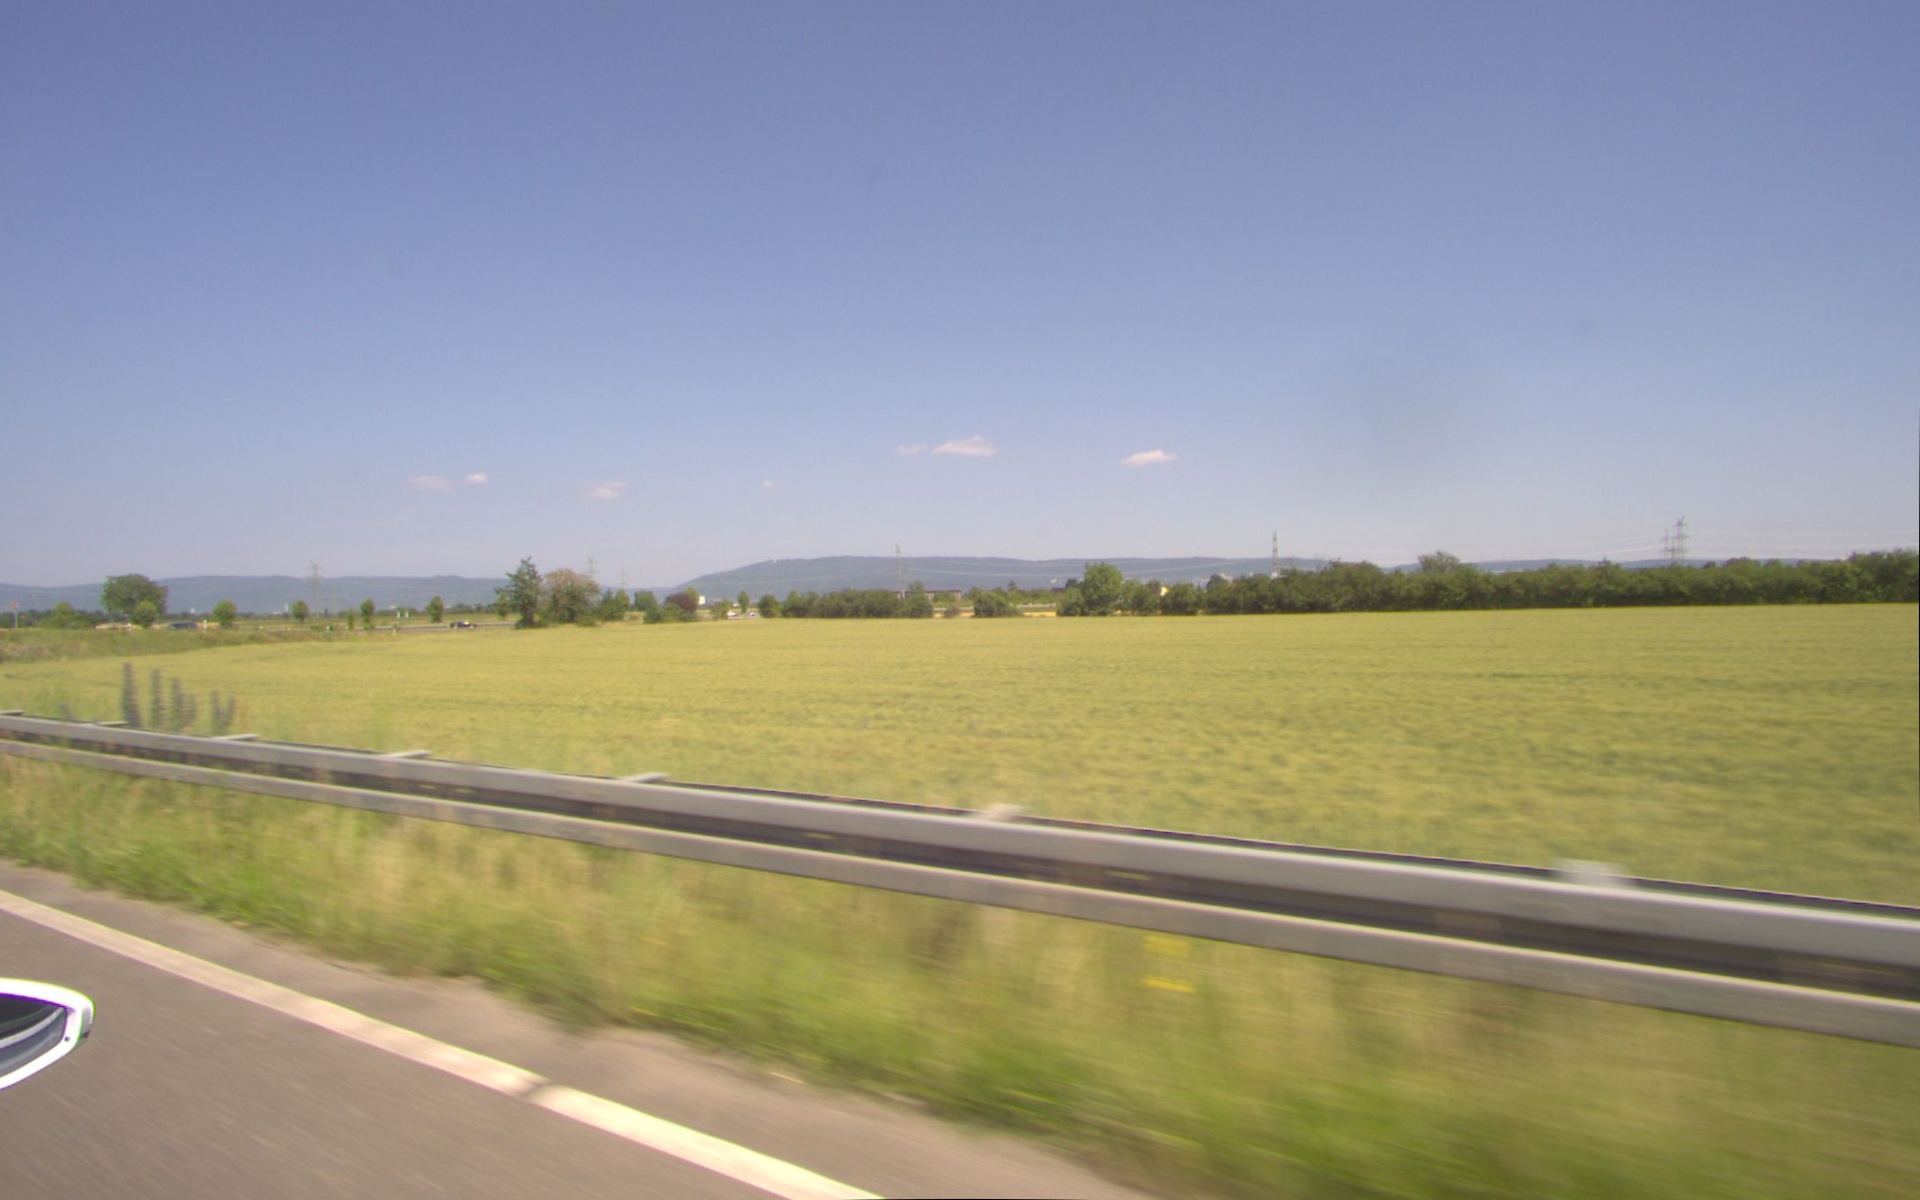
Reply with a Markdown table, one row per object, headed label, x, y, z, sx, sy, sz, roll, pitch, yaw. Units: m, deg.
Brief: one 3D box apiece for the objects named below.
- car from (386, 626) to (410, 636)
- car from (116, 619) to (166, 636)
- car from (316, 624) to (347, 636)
| label | x | y | z | sx | sy | sz | roll | pitch | yaw |
| --- | --- | --- | --- | --- | --- | --- | --- | --- | --- |
| car | -84.004 | 4.679 | 149.630 | 1.617 | 1.505 | 3.486 | -1 | -2 | 1 |
| car | -76.609 | 2.596 | 93.731 | 1.618 | 1.505 | 3.485 | -1 | -2 | 7 |
| car | -78.213 | 3.711 | 124.571 | 1.617 | 1.505 | 3.486 | -1 | -2 | 1 |
